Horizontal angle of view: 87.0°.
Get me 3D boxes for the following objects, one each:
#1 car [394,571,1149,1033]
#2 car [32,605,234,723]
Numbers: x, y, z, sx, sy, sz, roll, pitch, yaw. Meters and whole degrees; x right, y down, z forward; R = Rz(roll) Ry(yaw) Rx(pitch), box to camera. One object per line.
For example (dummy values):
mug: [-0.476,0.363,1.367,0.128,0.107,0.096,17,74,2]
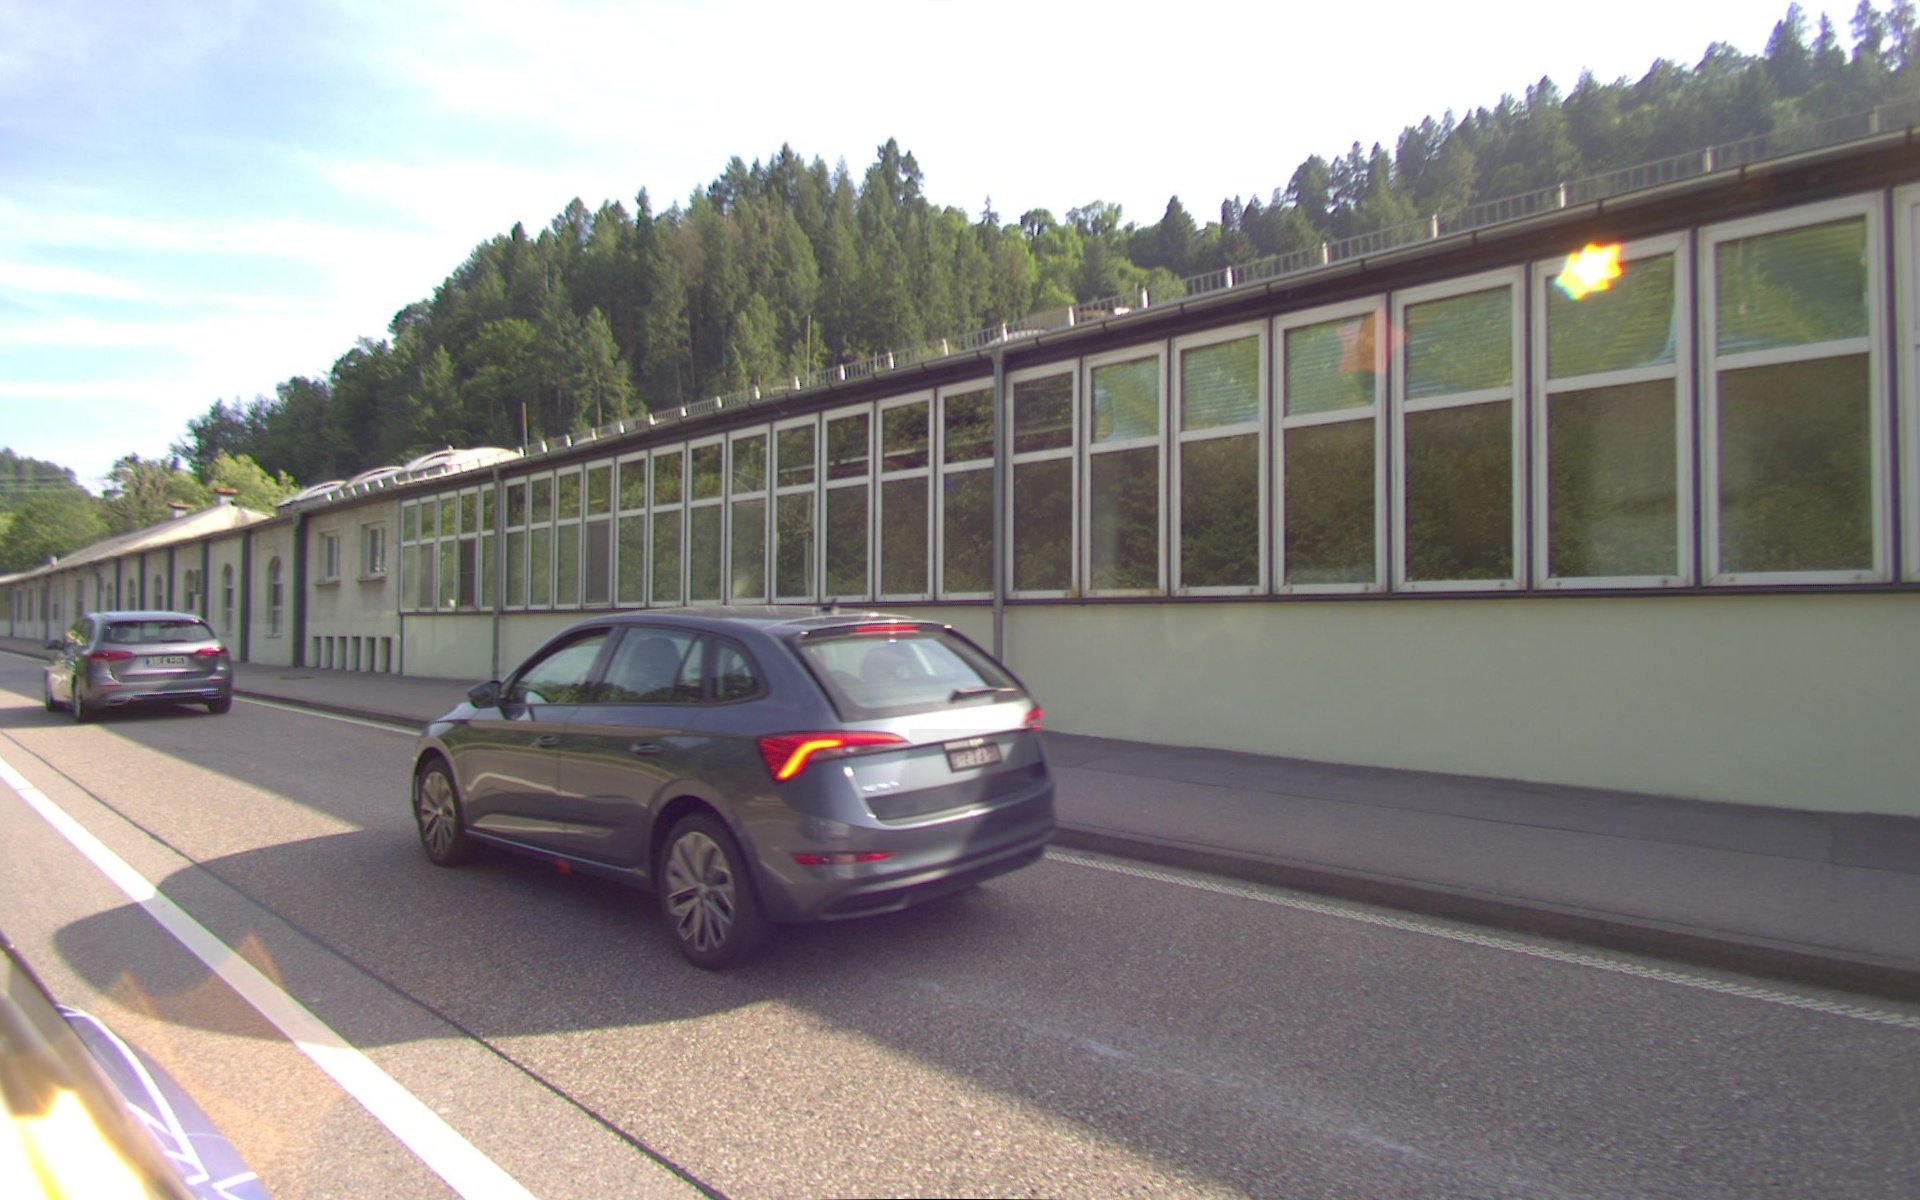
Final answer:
car: [-1.238,0.675,5.297,4.050,1.502,1.755,-1,0,41]
car: [-12.597,0.877,15.324,4.197,1.525,1.701,-1,0,41]
